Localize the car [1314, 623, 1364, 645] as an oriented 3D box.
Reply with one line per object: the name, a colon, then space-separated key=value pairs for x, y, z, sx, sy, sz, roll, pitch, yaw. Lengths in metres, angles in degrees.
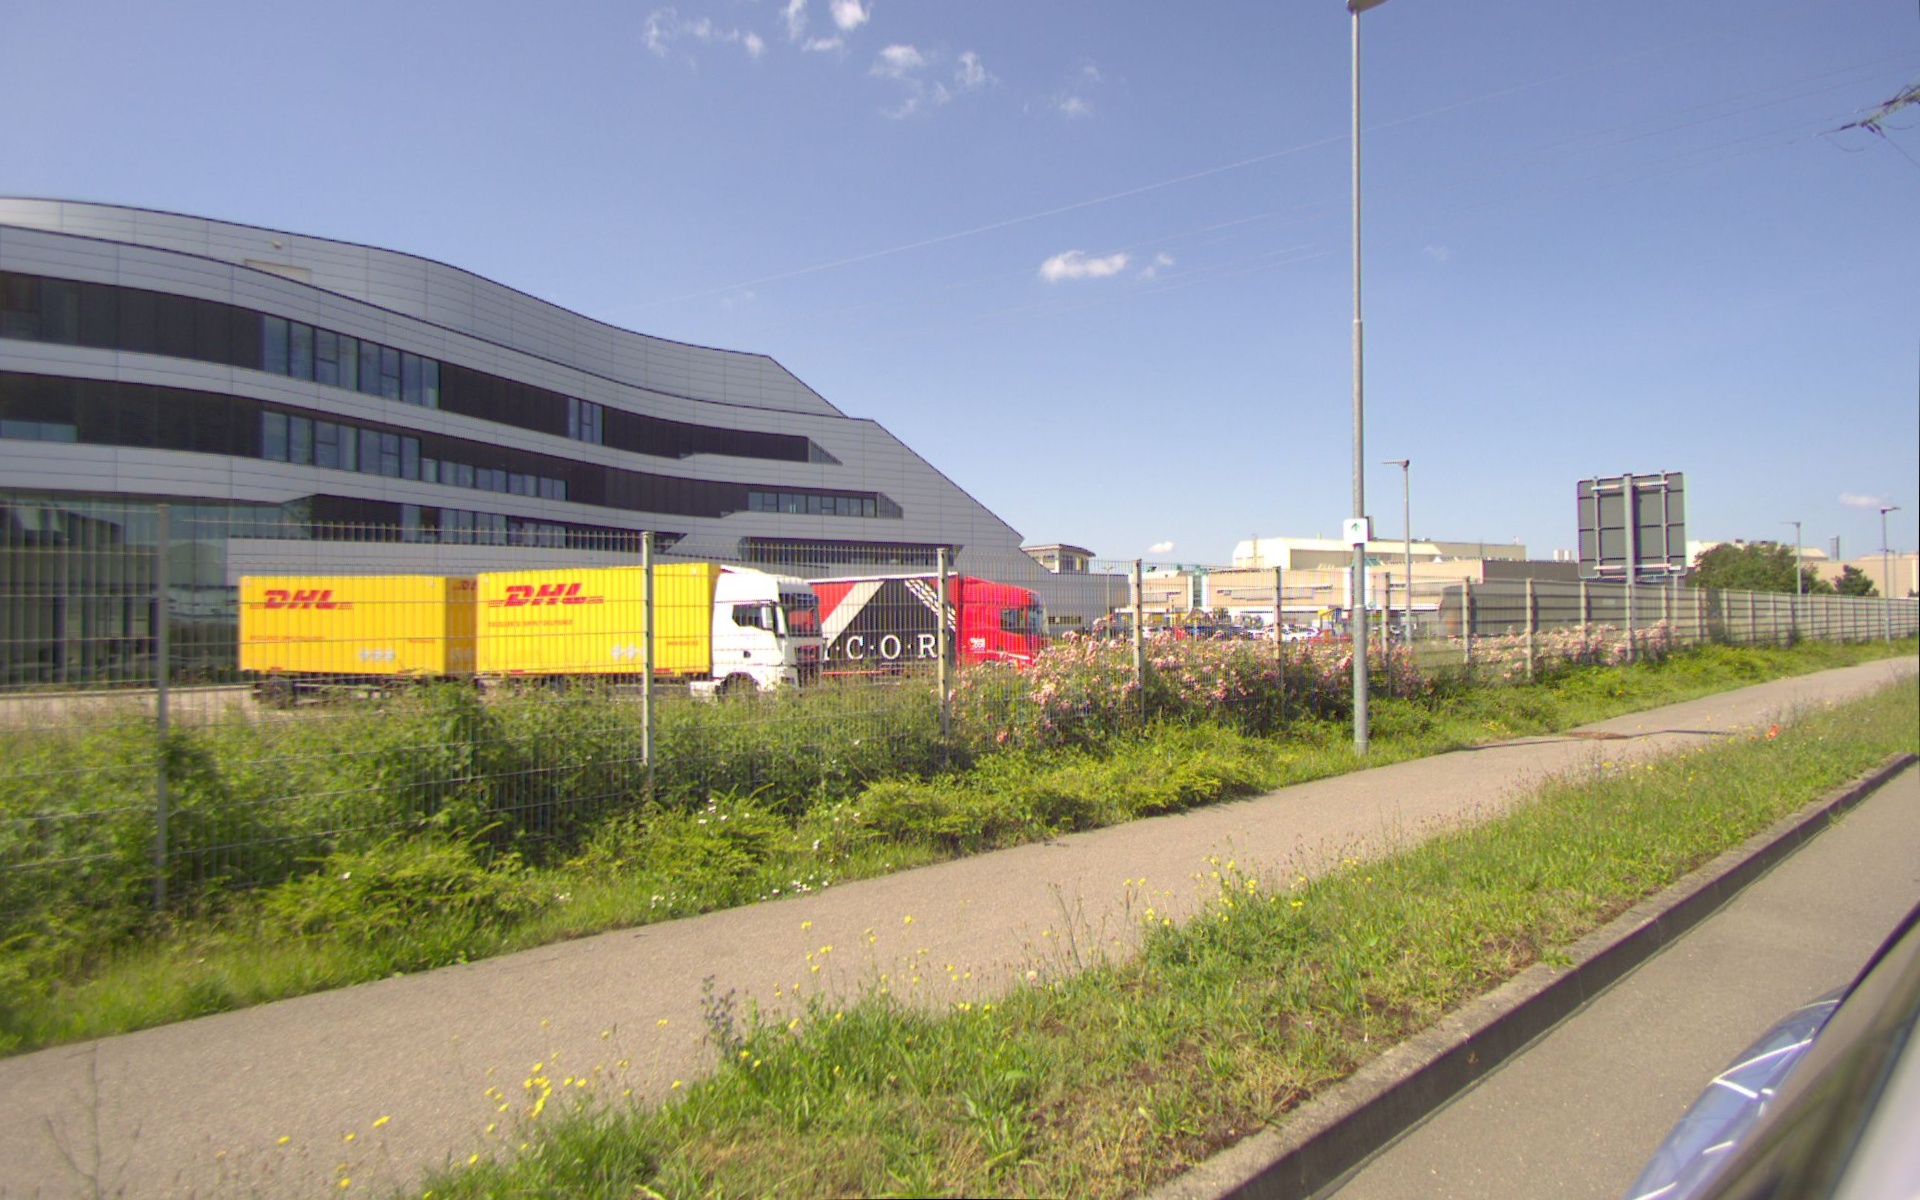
car: x=27.991 y=2.490 z=74.806 sx=1.427 sy=1.554 sz=3.152 roll=0 pitch=-1 yaw=-34

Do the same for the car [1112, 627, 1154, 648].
car: x=13.117 y=2.805 z=76.806 sx=1.443 sy=1.554 sz=3.057 roll=0 pitch=-1 yaw=-34

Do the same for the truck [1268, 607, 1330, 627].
truck: x=55.071 y=2.740 z=164.214 sx=11.612 sy=3.178 sz=2.002 roll=0 pitch=-2 yaw=-29

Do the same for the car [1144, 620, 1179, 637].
car: x=18.704 y=2.615 z=94.153 sx=1.443 sy=1.554 sz=3.057 roll=0 pitch=-1 yaw=-34

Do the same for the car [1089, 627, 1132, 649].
car: x=11.197 y=2.833 z=75.300 sx=1.443 sy=1.554 sz=3.057 roll=0 pitch=-1 yaw=-34

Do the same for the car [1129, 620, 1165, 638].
car: x=17.040 y=2.627 z=92.253 sx=1.443 sy=1.554 sz=3.057 roll=0 pitch=-1 yaw=-34

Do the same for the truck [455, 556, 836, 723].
truck: x=-9.012 y=1.001 z=28.748 sx=10.830 sy=4.225 sz=2.806 roll=0 pitch=0 yaw=19

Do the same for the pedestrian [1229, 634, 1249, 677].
pedestrian: x=11.070 y=2.204 z=40.167 sx=0.563 sy=1.674 sz=0.484 roll=0 pitch=-2 yaw=-36

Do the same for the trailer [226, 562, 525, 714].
trailer: x=-18.202 y=1.080 z=31.580 sx=8.589 sy=4.350 sz=2.889 roll=0 pitch=0 yaw=15

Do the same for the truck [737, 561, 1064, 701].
truck: x=-2.069 y=0.951 z=34.467 sx=10.827 sy=4.310 sz=3.011 roll=0 pitch=0 yaw=18

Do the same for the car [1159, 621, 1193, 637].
car: x=20.462 y=2.745 z=95.899 sx=1.443 sy=1.554 sz=3.057 roll=0 pitch=-1 yaw=-34
